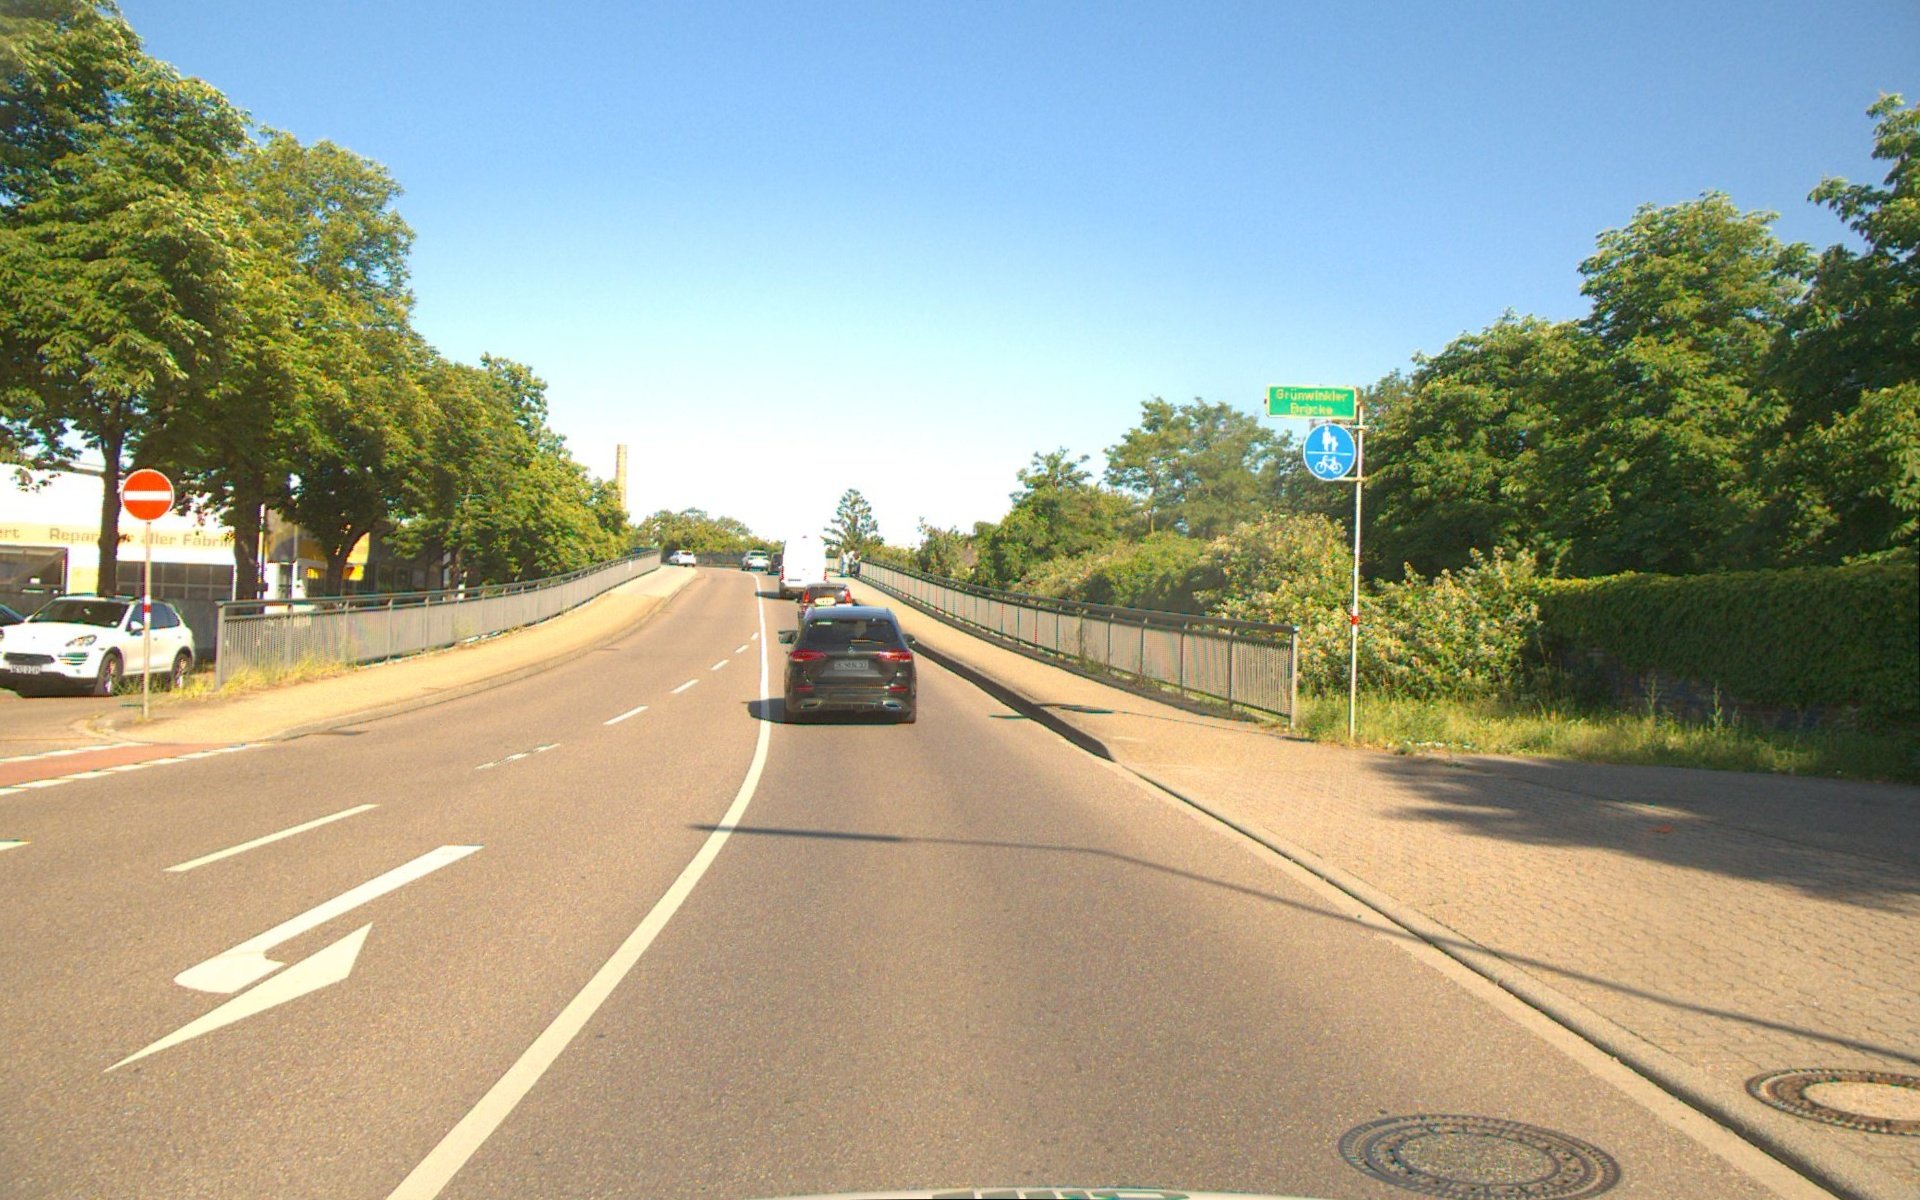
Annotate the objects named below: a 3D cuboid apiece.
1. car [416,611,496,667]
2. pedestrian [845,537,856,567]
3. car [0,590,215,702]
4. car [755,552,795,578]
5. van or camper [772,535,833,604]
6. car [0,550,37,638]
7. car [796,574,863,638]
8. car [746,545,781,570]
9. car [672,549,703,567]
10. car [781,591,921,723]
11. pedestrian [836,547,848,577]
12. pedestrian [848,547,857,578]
[{"bbox_3d":[-19.589,1.487,64.438,1.885,2.026,4.255,2,0,-2],"label":"car"},{"bbox_3d":[-6.552,-2.880,99.103,0.539,1.781,0.737,2,-1,-7],"label":"pedestrian"},{"bbox_3d":[-15.382,0.782,29.622,1.998,1.759,5.230,3,-1,-5],"label":"car"},{"bbox_3d":[-12.473,-2.324,111.658,1.878,1.515,4.272,1,-2,5],"label":"car"},{"bbox_3d":[-7.041,-1.276,73.206,2.185,2.787,7.065,2,0,-9],"label":"van or camper"},{"bbox_3d":[-29.679,-0.207,47.844,2.085,2.606,5.894,1,-1,7],"label":"car"},{"bbox_3d":[-3.716,0.212,47.428,1.769,1.669,3.996,2,-2,-4],"label":"car"},{"bbox_3d":[-15.253,-3.281,128.715,1.952,1.709,4.001,1,-2,4],"label":"car"},{"bbox_3d":[-25.731,-3.965,156.210,1.852,1.570,3.970,2,0,-24],"label":"car"},{"bbox_3d":[-1.434,0.719,23.089,1.734,1.620,3.988,2,0,-1],"label":"car"},{"bbox_3d":[-7.022,-2.262,98.272,0.591,1.781,0.715,2,-1,-7],"label":"pedestrian"},{"bbox_3d":[-6.390,-2.235,98.353,0.462,1.781,0.653,2,-1,-7],"label":"pedestrian"}]
